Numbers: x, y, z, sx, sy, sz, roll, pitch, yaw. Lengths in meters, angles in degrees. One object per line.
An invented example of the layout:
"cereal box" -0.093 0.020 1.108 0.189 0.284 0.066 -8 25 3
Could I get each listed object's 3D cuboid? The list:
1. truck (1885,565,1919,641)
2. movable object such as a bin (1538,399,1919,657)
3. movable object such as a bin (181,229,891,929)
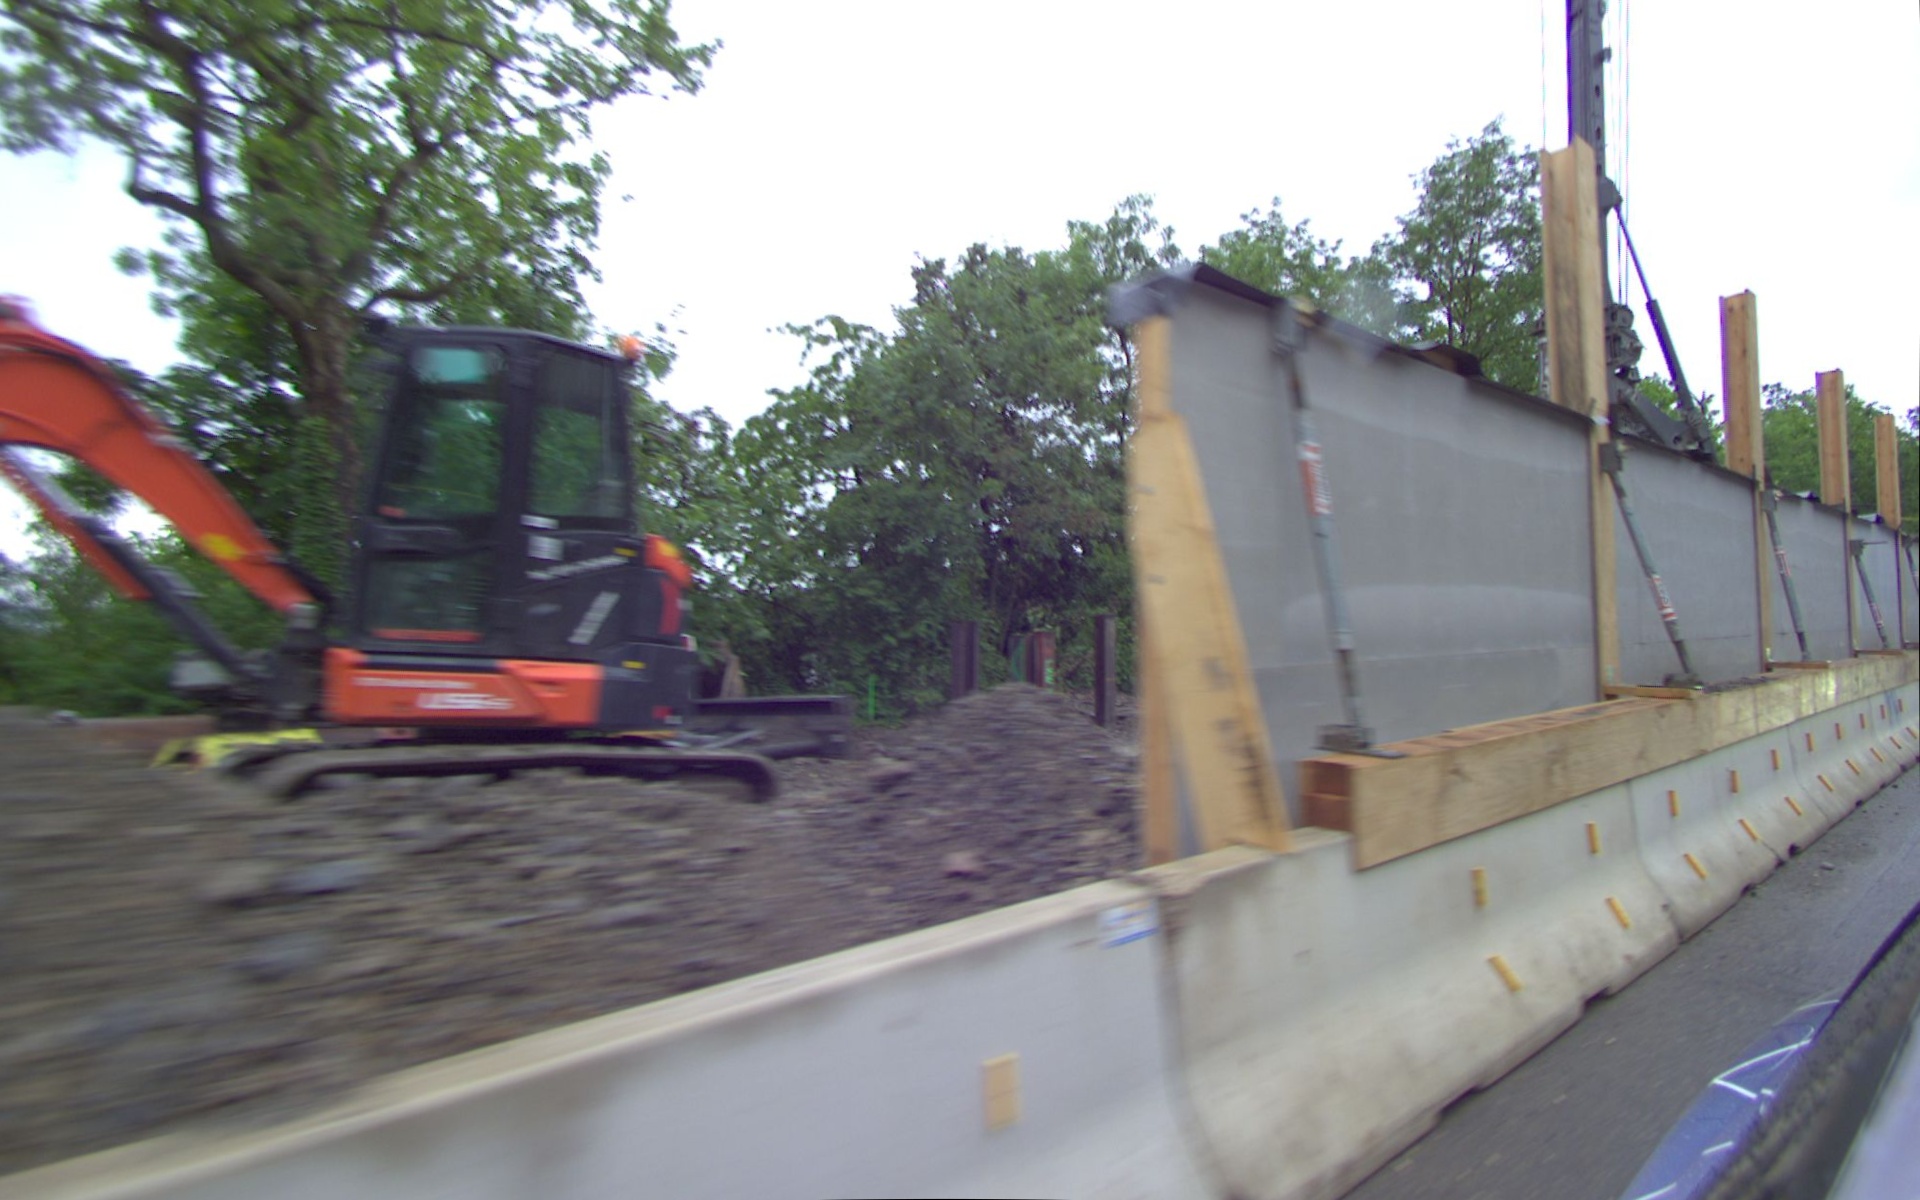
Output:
"truck" 28.709 0.048 29.206 3.246 2.135 2.555 -1 -1 -41
"movable object such as a bin" 17.431 -1.495 22.577 7.014 5.131 3.700 -1 -1 -12
"movable object such as a bin" -2.307 -0.062 5.618 3.120 2.635 2.099 -1 -3 -40
